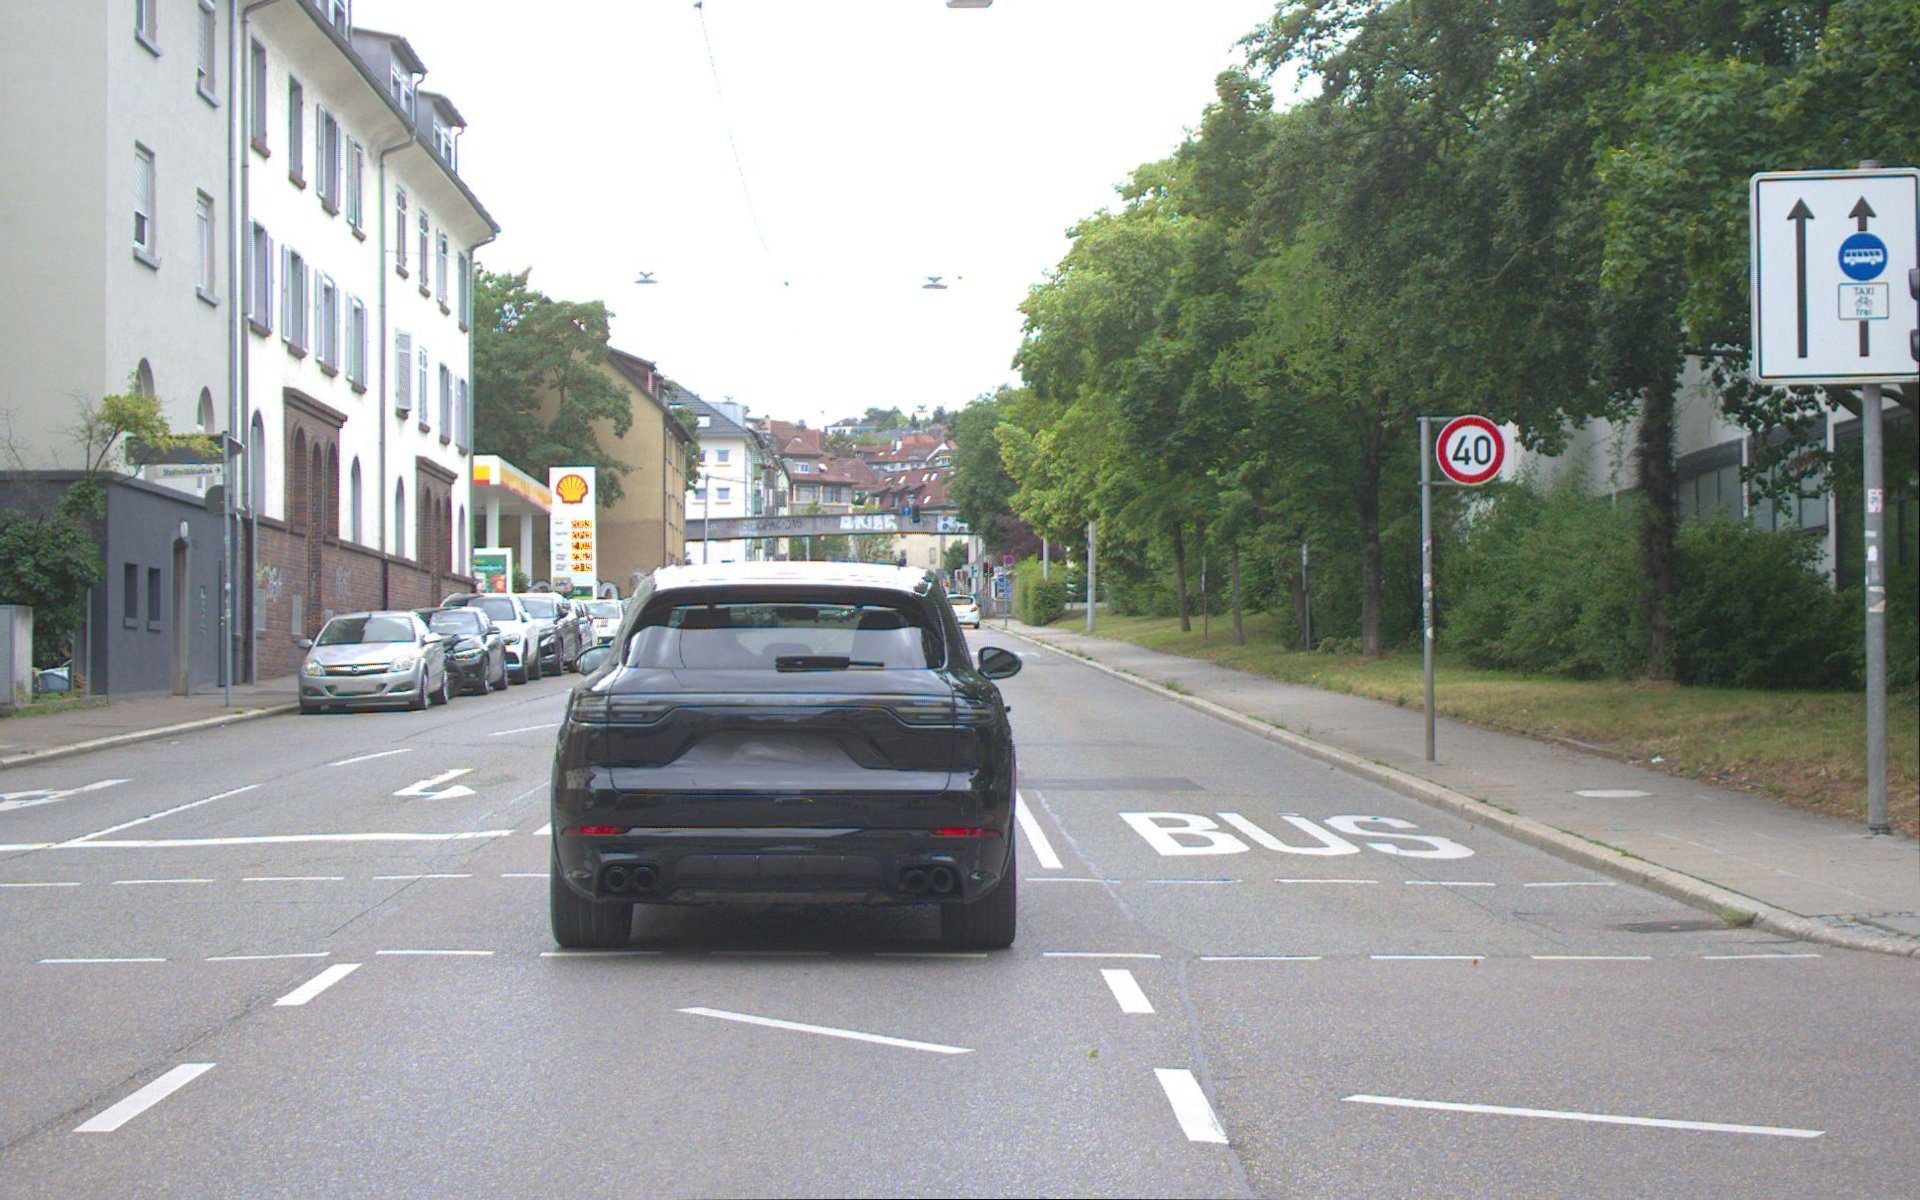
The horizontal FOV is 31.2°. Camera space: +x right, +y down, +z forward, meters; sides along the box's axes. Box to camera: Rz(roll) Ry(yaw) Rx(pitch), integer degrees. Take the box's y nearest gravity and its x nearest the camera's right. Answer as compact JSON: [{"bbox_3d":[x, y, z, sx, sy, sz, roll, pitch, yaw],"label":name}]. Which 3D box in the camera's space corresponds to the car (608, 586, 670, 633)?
[{"bbox_3d":[-9.742,0.275,104.598,1.669,1.357,4.001,0,1,-2],"label":"car"}]

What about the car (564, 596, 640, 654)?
[{"bbox_3d":[-9.048,0.614,87.171,1.669,1.357,4.001,0,1,-2],"label":"car"}]

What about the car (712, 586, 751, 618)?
[{"bbox_3d":[-10.155,0.085,152.952,1.669,1.357,4.001,0,1,-2],"label":"car"}]

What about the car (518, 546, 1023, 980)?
[{"bbox_3d":[-0.786,0.625,15.792,1.993,1.691,4.000,1,1,-1],"label":"car"}]

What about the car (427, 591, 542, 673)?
[{"bbox_3d":[-8.539,0.553,61.953,1.669,1.357,4.001,0,1,-2],"label":"car"}]

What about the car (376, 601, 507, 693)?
[{"bbox_3d":[-8.395,0.744,55.921,1.669,1.357,4.001,0,1,-2],"label":"car"}]

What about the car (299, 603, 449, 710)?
[{"bbox_3d":[-8.215,0.764,48.459,1.669,1.357,4.001,0,1,-3],"label":"car"}]
